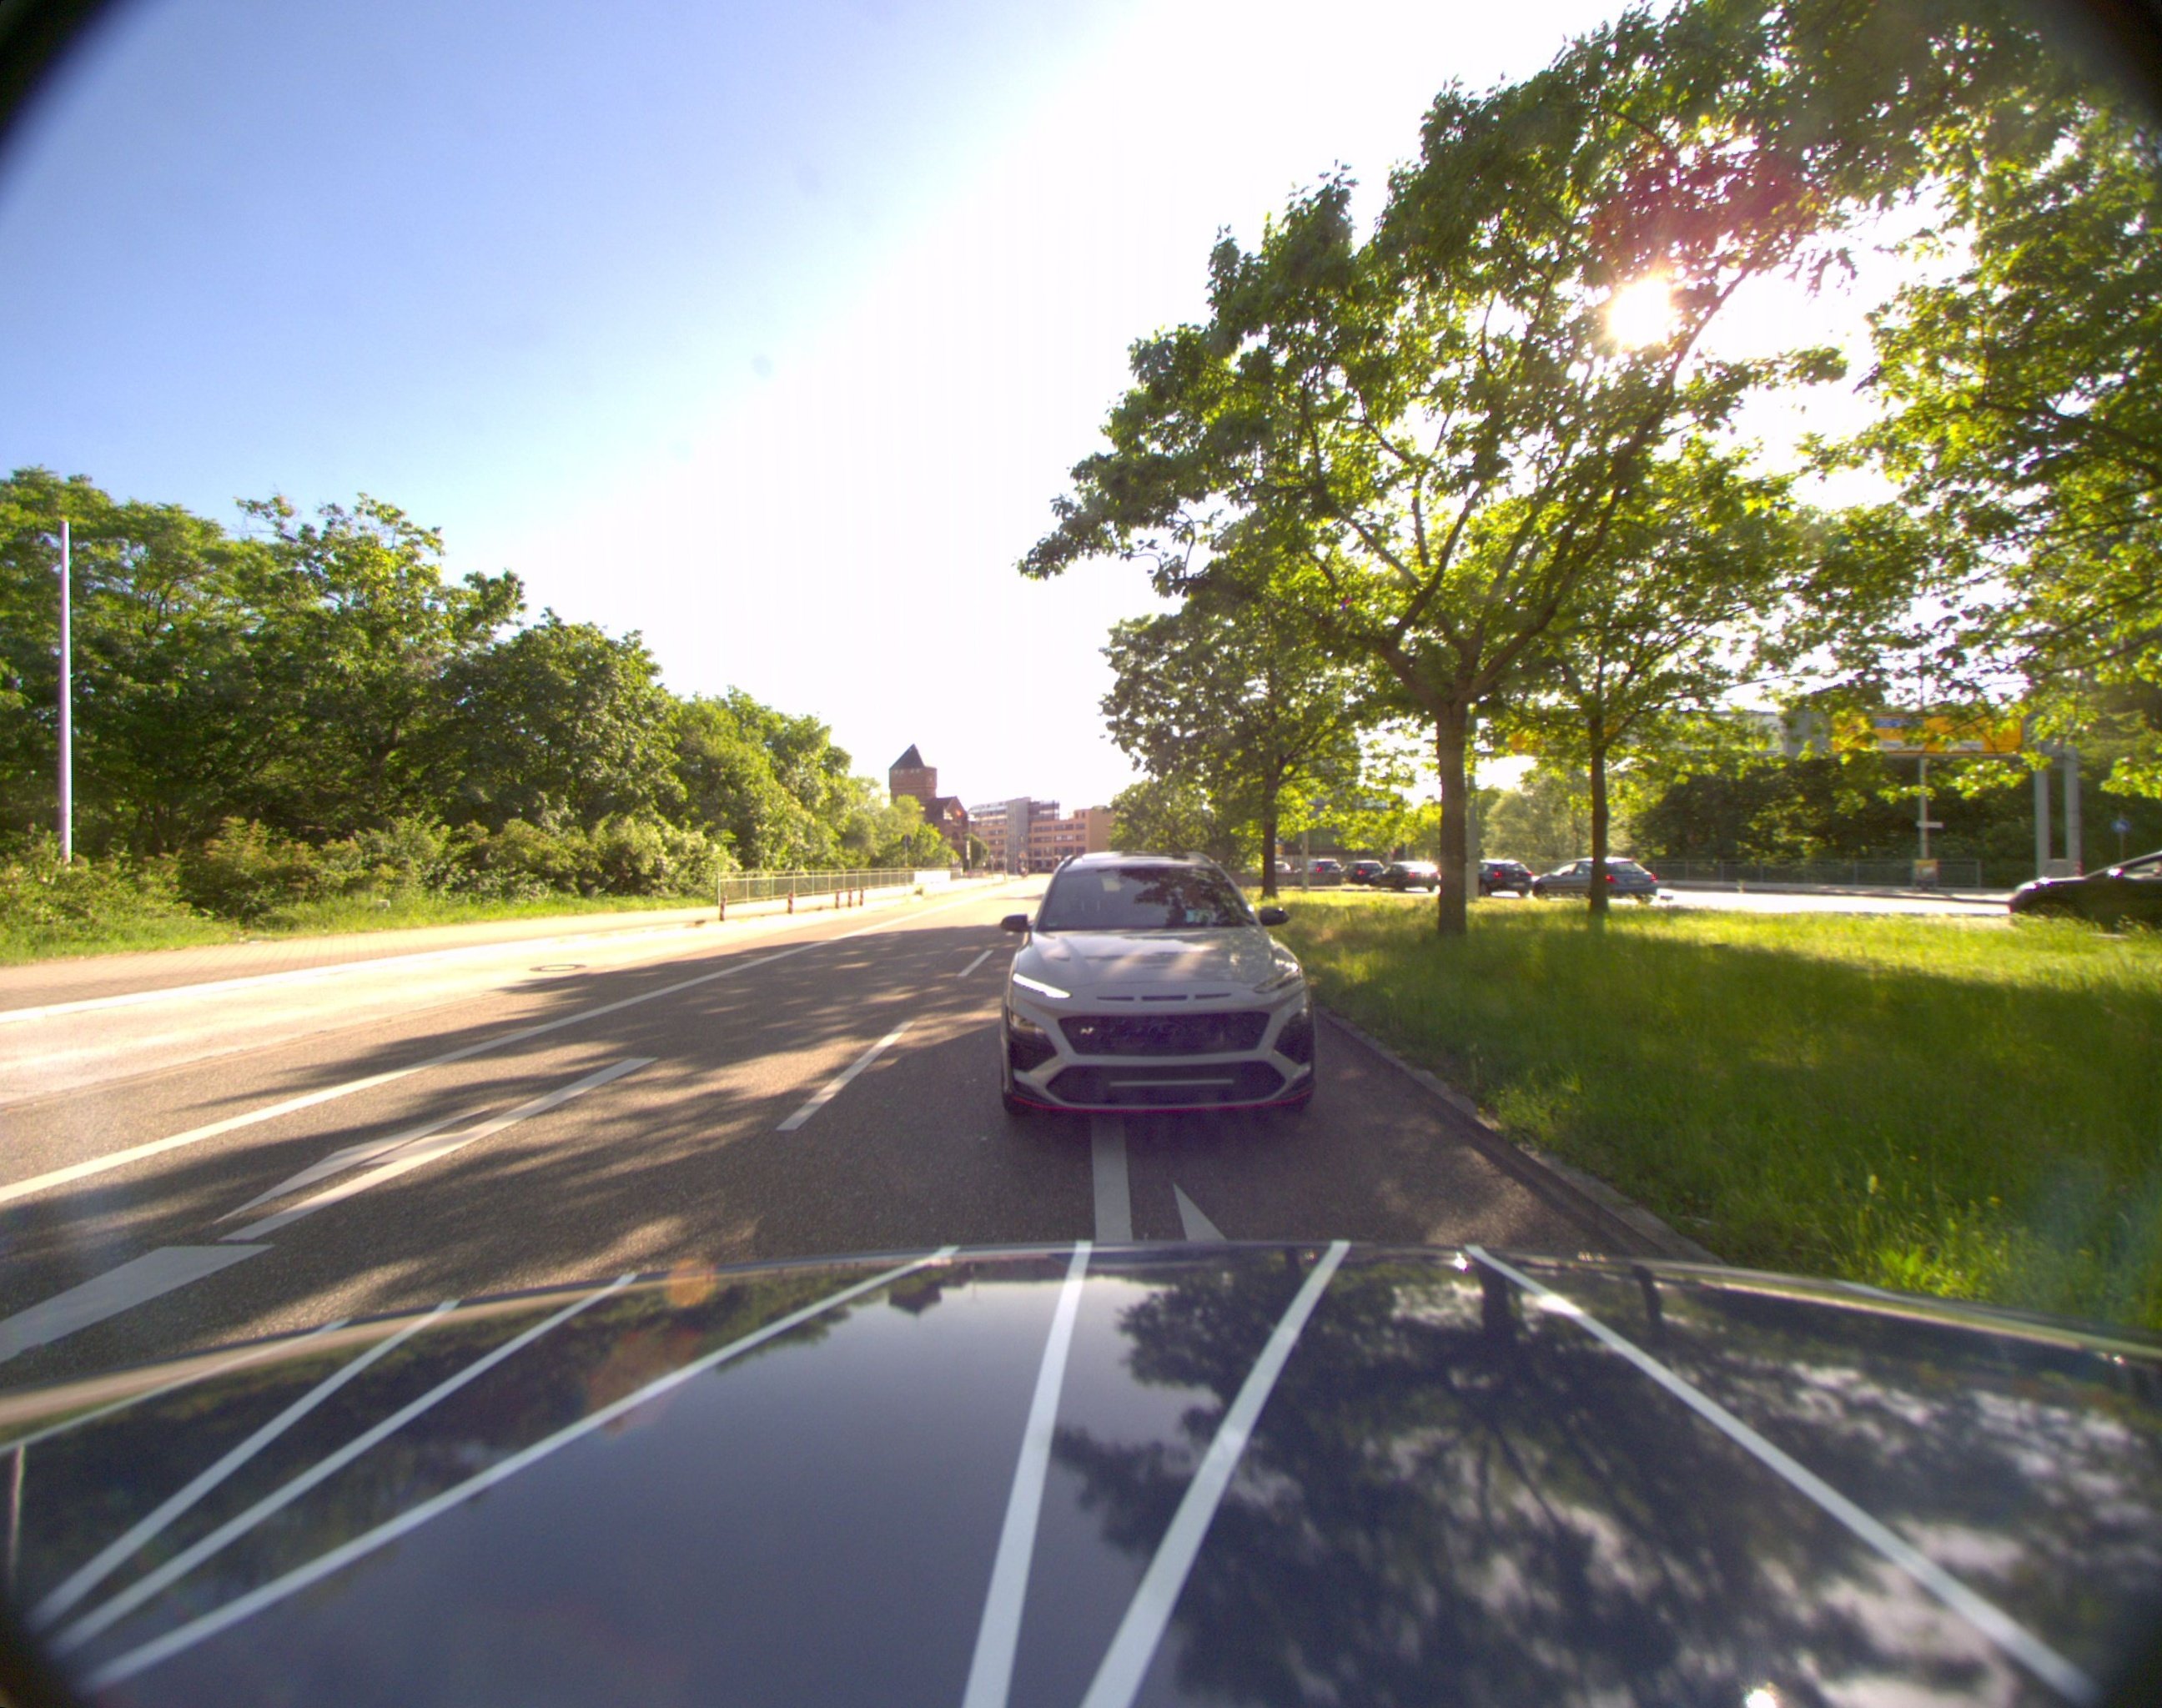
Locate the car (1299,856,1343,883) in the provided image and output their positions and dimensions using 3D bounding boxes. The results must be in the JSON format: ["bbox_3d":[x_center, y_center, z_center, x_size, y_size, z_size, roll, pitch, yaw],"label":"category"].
[{"bbox_3d":[14.966,0.996,47.569,1.450,1.549,3.202,-1,-2,-6],"label":"car"}]

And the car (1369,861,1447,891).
[{"bbox_3d":[15.474,0.999,36.217,1.623,1.305,4.066,-1,0,-6],"label":"car"}]

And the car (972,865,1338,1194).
[{"bbox_3d":[0.386,0.883,5.683,1.752,1.523,3.988,-1,0,1],"label":"car"}]

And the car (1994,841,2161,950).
[{"bbox_3d":[17.144,0.611,11.239,1.831,1.638,4.459,-1,0,-2],"label":"car"}]

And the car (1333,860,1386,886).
[{"bbox_3d":[15.150,1.035,41.473,1.481,1.331,3.202,-1,-1,-6],"label":"car"}]

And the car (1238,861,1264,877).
[{"bbox_3d":[13.932,1.283,62.427,1.199,1.252,2.768,-1,-2,-6],"label":"car"}]

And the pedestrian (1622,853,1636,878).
[{"bbox_3d":[33.238,0.704,46.072,0.421,1.490,0.545,-1,0,-7],"label":"pedestrian"}]

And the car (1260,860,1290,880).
[{"bbox_3d":[14.317,1.211,56.147,1.228,1.331,2.882,-1,-3,-6],"label":"car"}]

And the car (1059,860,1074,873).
[{"bbox_3d":[-1.705,1.531,90.986,1.677,1.463,4.151,-1,0,1],"label":"car"}]

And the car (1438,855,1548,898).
[{"bbox_3d":[16.186,0.848,30.144,1.875,1.541,4.221,-1,0,-4],"label":"car"}]

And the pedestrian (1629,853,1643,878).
[{"bbox_3d":[33.708,0.705,46.113,0.421,1.490,0.545,-1,0,-7],"label":"pedestrian"}]

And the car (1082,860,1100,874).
[{"bbox_3d":[1.098,1.347,80.922,1.892,1.420,4.387,-1,0,1],"label":"car"}]

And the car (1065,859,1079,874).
[{"bbox_3d":[-1.233,1.786,105.870,1.959,2.002,4.000,-1,0,1],"label":"car"}]

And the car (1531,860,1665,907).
[{"bbox_3d":[16.383,0.884,24.290,1.561,1.355,3.608,-1,-1,-6],"label":"car"}]
